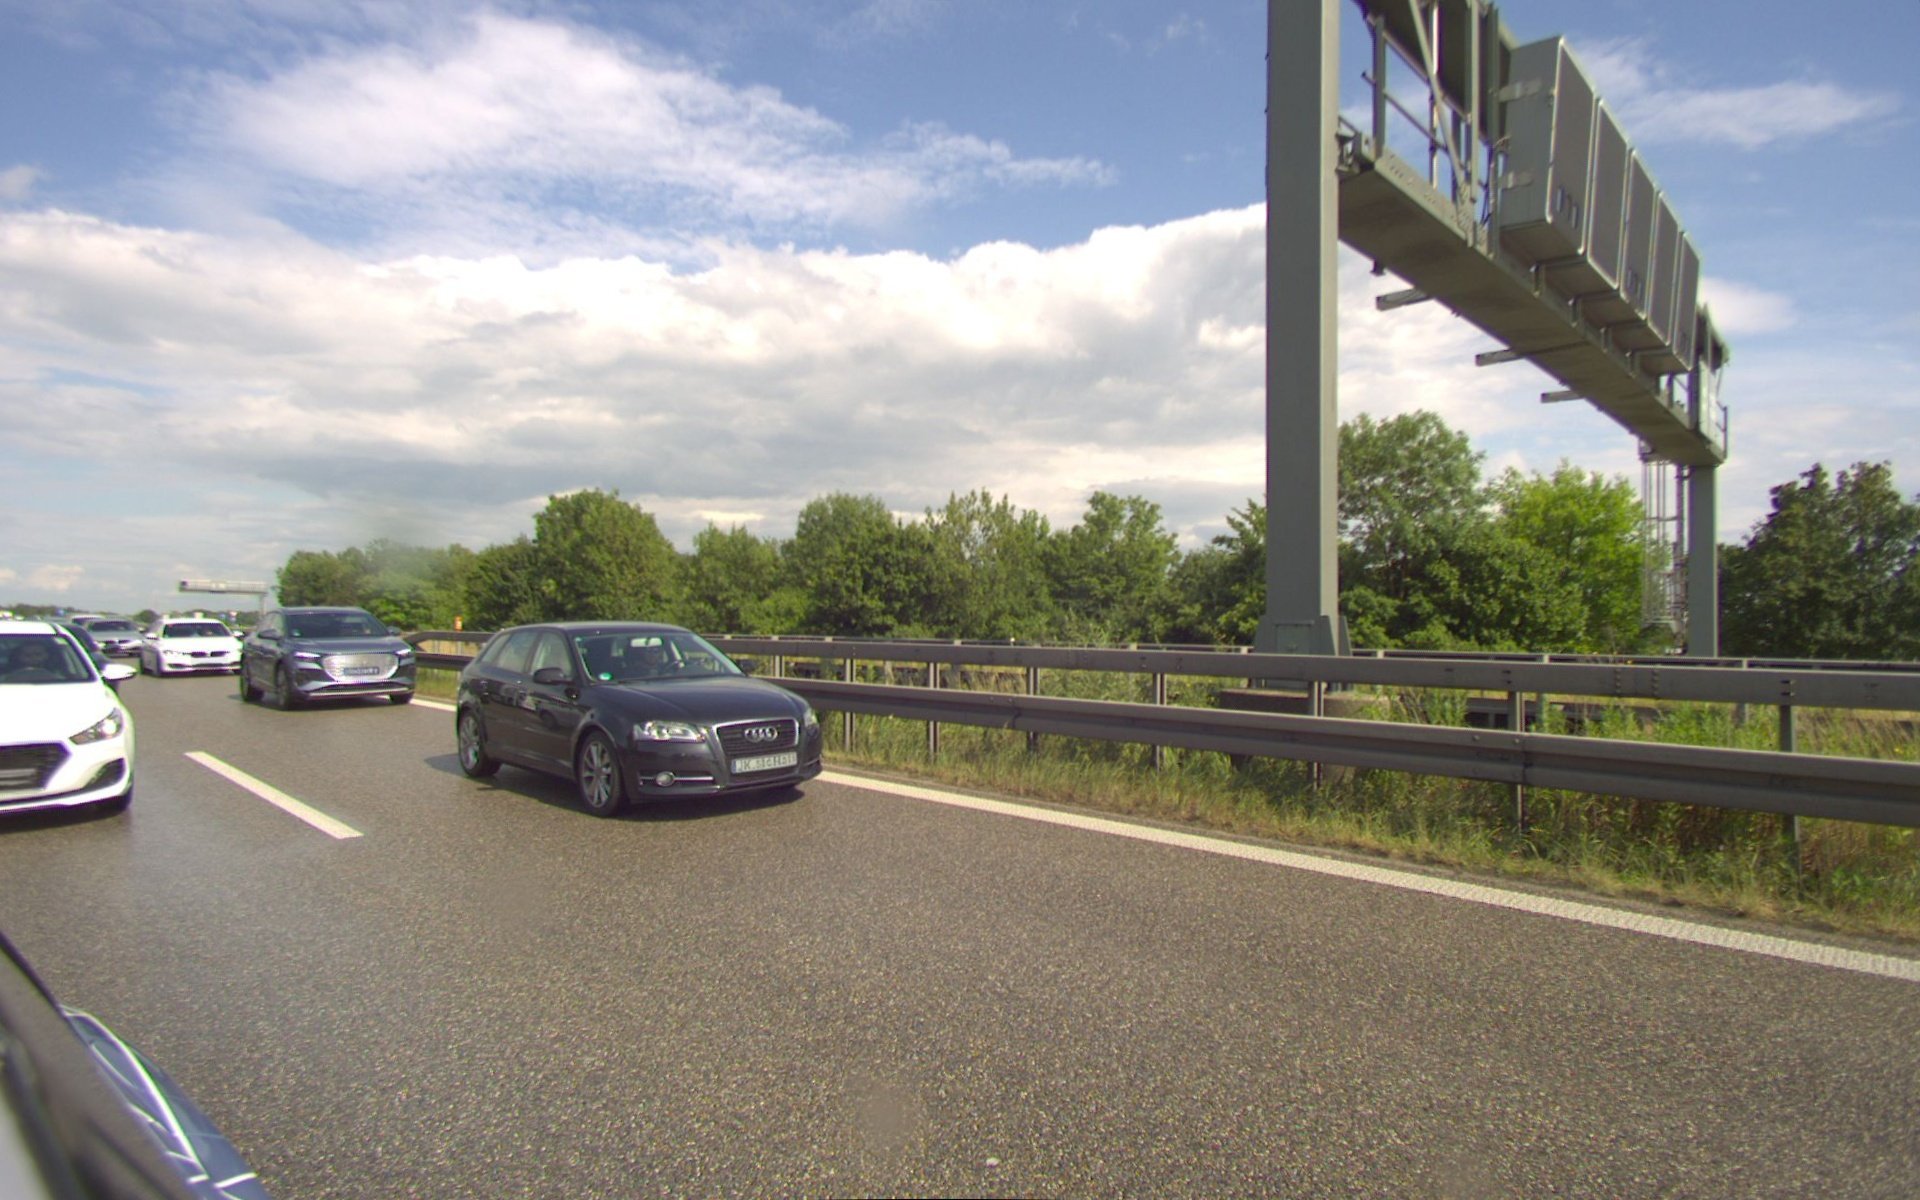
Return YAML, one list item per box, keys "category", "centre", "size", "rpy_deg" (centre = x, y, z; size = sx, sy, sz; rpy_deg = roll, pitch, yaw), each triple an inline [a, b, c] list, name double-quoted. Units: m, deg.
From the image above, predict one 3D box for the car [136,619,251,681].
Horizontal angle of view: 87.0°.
- category: "car"
  centre: [-19.478, 1.209, 25.661]
  size: [4.001, 1.389, 1.747]
  rpy_deg: [0, -1, 44]

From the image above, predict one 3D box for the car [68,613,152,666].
- category: "car"
  centre: [-31.398, 1.411, 37.348]
  size: [4.001, 1.761, 1.971]
  rpy_deg: [0, 1, 44]

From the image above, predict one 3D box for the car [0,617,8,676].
- category: "car"
  centre: [-27.266, 1.241, 27.393]
  size: [4.001, 1.497, 1.971]
  rpy_deg: [0, -1, 44]

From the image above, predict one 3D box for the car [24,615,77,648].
- category: "car"
  centre: [-51.595, 1.744, 57.394]
  size: [4.001, 1.710, 1.971]
  rpy_deg: [0, 1, 44]

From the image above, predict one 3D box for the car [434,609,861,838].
- category: "car"
  centre: [-2.831, 0.820, 8.574]
  size: [1.746, 1.436, 4.141]
  rpy_deg: [-1, 0, -45]

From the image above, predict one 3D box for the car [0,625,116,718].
- category: "car"
  centre: [-15.403, 1.108, 16.799]
  size: [4.289, 1.348, 1.705]
  rpy_deg: [-1, -1, 44]

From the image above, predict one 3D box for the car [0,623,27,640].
- category: "car"
  centre: [-105.481, 3.490, 112.769]
  size: [4.001, 1.710, 1.971]
  rpy_deg: [0, 1, 44]

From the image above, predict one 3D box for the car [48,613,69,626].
- category: "car"
  centre: [-128.350, 2.738, 144.130]
  size: [4.463, 1.792, 1.971]
  rpy_deg: [-1, -1, 45]

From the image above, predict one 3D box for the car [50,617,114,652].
- category: "car"
  centre: [-42.570, 1.646, 49.032]
  size: [4.001, 1.490, 1.971]
  rpy_deg: [0, 1, 44]

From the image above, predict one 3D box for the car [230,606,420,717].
- category: "car"
  centre: [-10.755, 0.933, 17.019]
  size: [1.849, 1.618, 4.231]
  rpy_deg: [0, -1, -45]

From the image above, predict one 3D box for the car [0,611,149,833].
- category: "car"
  centre: [-8.066, 0.840, 8.155]
  size: [4.549, 1.466, 1.860]
  rpy_deg: [-1, -1, 44]

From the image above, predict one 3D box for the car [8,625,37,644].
- category: "car"
  centre: [-94.838, 3.474, 102.357]
  size: [4.001, 1.710, 1.971]
  rpy_deg: [0, 1, 44]
